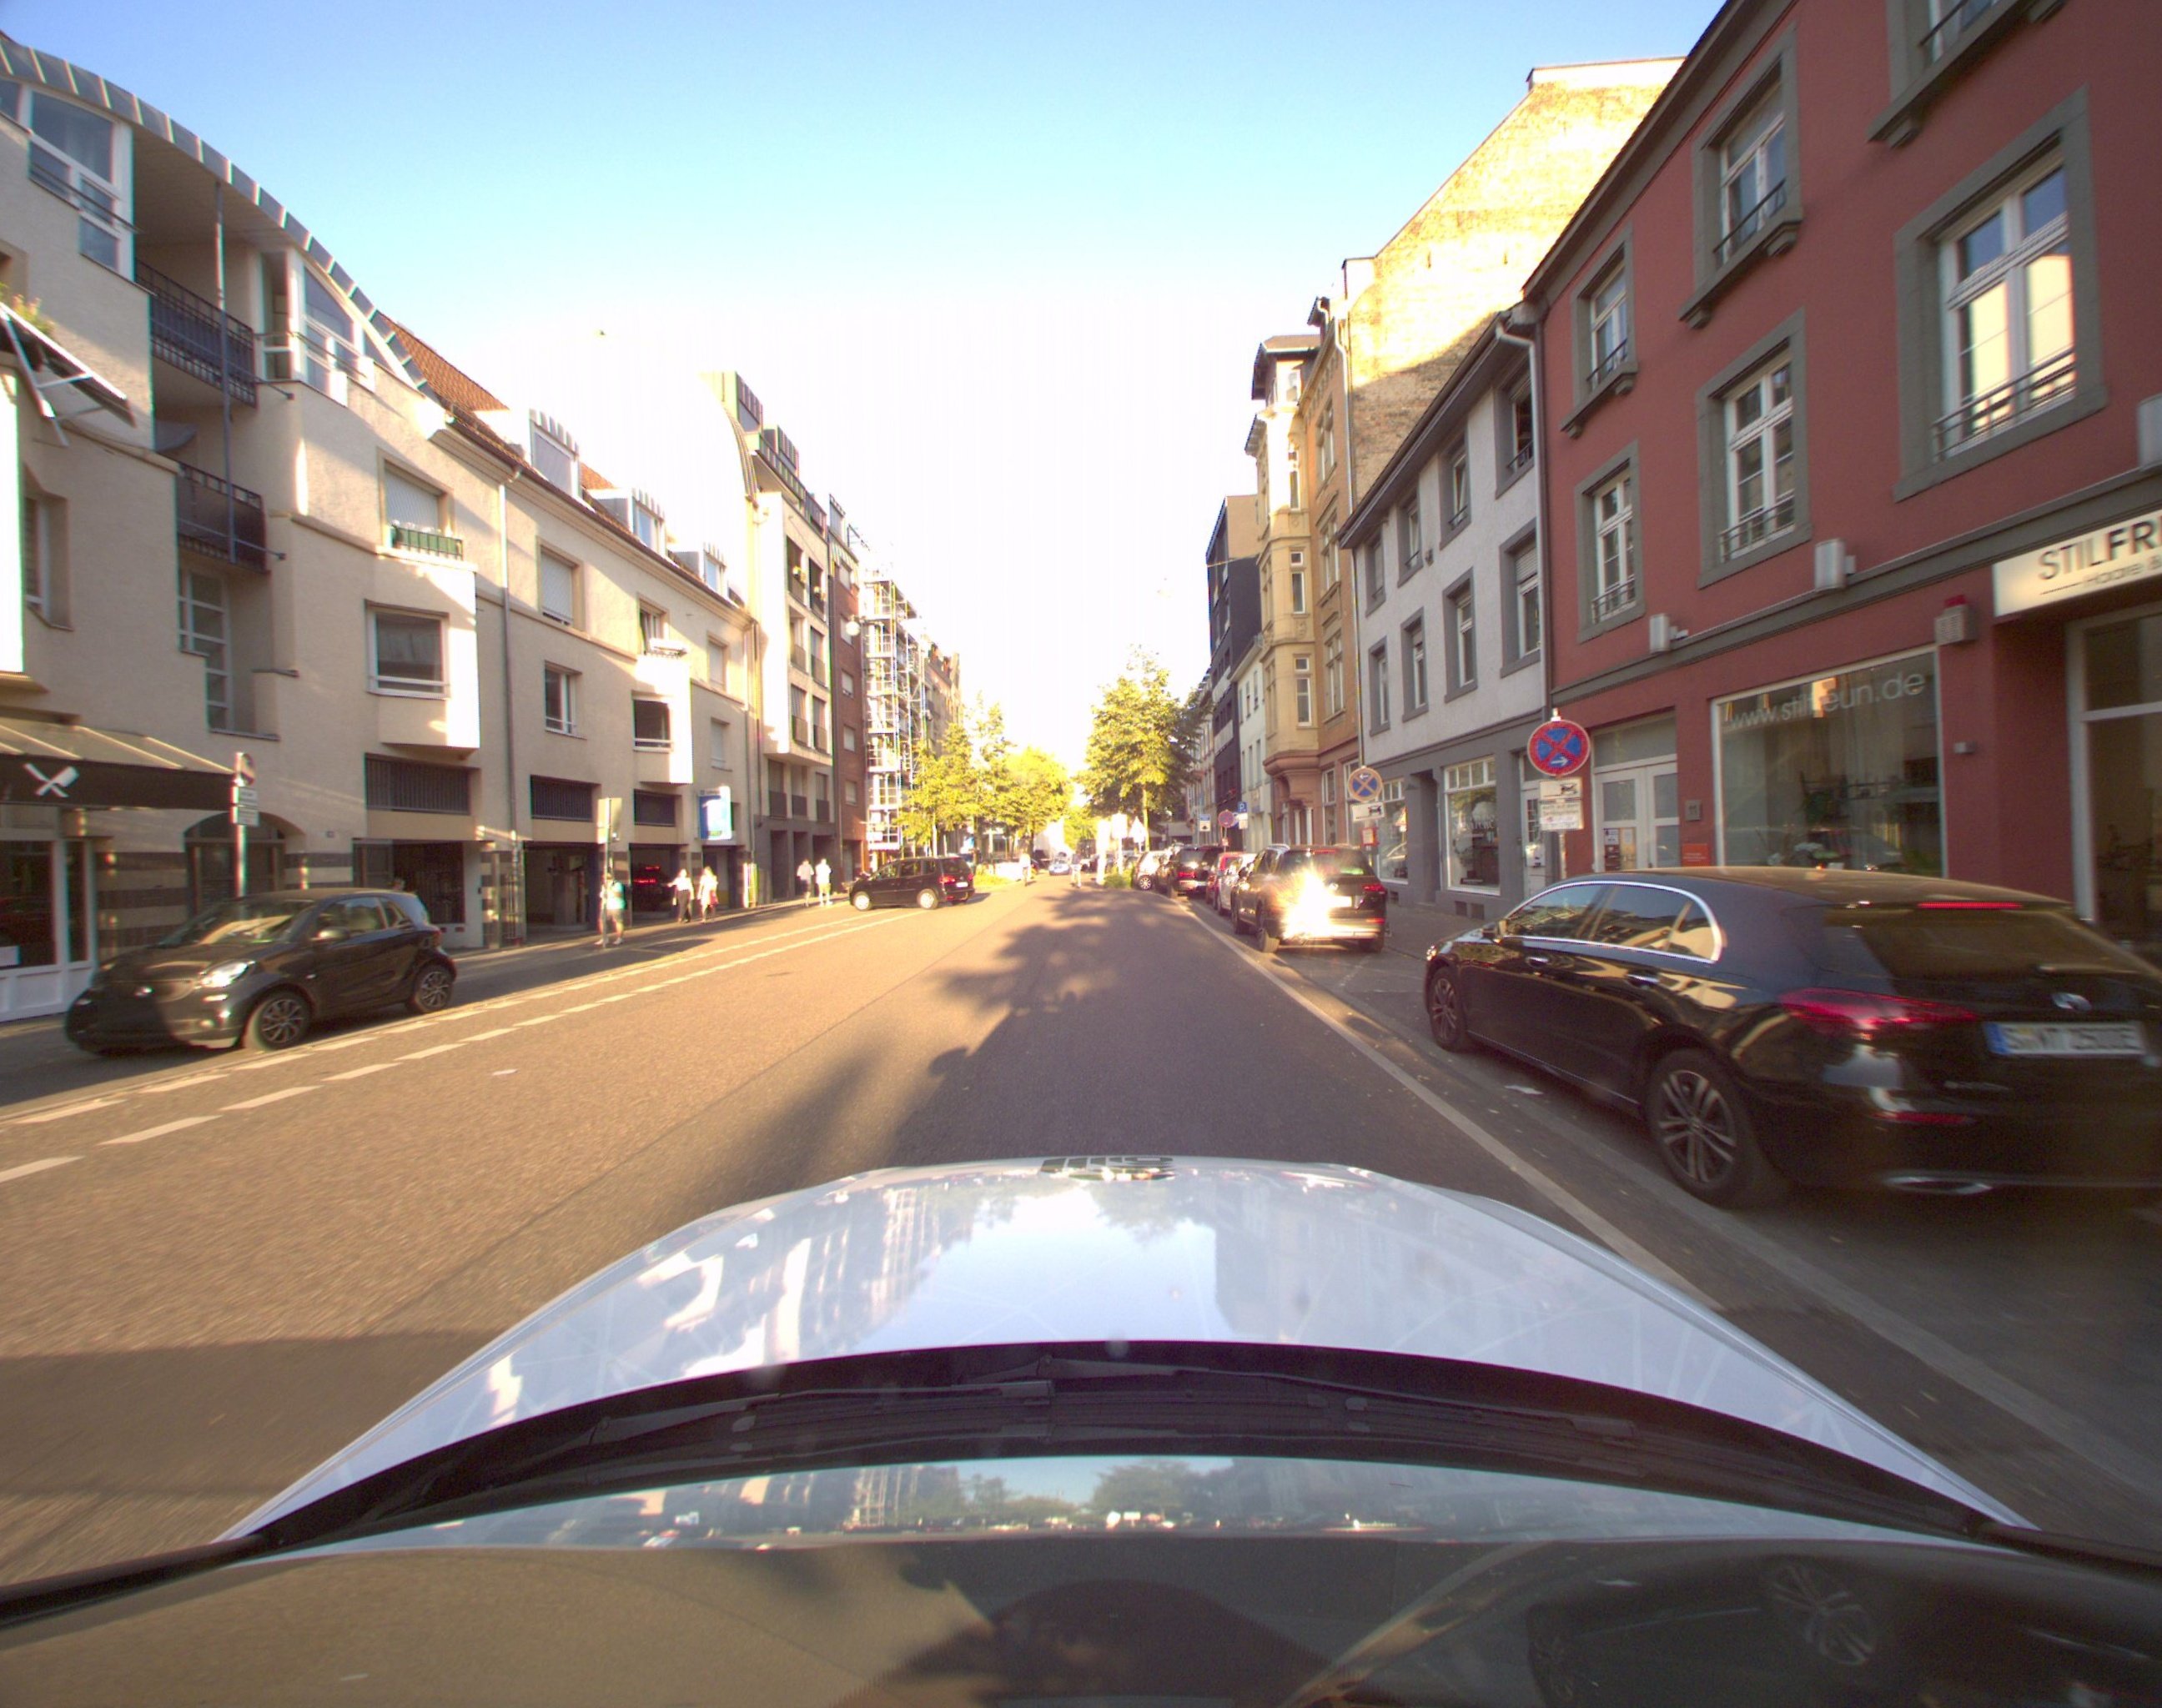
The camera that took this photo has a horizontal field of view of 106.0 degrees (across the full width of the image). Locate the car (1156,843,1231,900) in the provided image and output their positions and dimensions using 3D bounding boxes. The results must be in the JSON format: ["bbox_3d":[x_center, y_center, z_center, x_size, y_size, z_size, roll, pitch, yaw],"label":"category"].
[{"bbox_3d":[3.638,0.553,27.014,1.819,1.695,4.366,-1,0,-1],"label":"car"}]

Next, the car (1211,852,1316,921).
[{"bbox_3d":[4.008,0.680,18.426,1.660,1.378,3.805,-1,0,2],"label":"car"}]

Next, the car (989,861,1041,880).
[{"bbox_3d":[-5.478,1.383,68.319,4.085,1.466,1.891,-1,-1,3],"label":"car"}]

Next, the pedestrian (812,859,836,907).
[{"bbox_3d":[-9.540,1.064,30.232,0.716,1.740,0.737,-1,-1,-6],"label":"pedestrian"}]

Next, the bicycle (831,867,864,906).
[{"bbox_3d":[-8.932,1.209,31.270,0.720,1.395,3.146,-1,-1,-6],"label":"bicycle"}]

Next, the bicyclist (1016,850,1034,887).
[{"bbox_3d":[-2.848,0.740,41.553,0.778,1.829,1.007,-3,-1,-1],"label":"bicyclist"}]

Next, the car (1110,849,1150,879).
[{"bbox_3d":[3.264,0.660,54.929,2.259,1.766,4.507,4,-1,-1],"label":"car"}]

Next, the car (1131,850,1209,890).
[{"bbox_3d":[3.540,0.633,32.742,2.961,1.536,1.432,-1,-1,-3],"label":"car"}]

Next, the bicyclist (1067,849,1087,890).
[{"bbox_3d":[-0.193,0.667,35.509,0.778,1.696,1.007,-3,-1,-1],"label":"bicyclist"}]

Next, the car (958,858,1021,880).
[{"bbox_3d":[-6.401,1.033,56.984,4.085,1.466,1.891,-1,-1,3],"label":"car"}]

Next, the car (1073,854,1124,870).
[{"bbox_3d":[1.597,0.732,75.109,4.478,1.480,1.870,0,-1,-36],"label":"car"}]

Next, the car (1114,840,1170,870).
[{"bbox_3d":[4.531,0.069,60.109,3.967,2.013,2.003,-2,0,6],"label":"car"}]

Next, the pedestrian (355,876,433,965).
[{"bbox_3d":[-12.939,1.237,15.365,0.713,1.616,0.856,-1,-1,4],"label":"pedestrian"}]

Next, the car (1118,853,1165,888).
[{"bbox_3d":[3.019,0.834,41.568,1.988,1.668,4.507,-1,0,-1],"label":"car"}]

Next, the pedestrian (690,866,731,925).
[{"bbox_3d":[-10.446,1.159,22.992,0.713,1.641,0.856,-1,-1,6],"label":"pedestrian"}]

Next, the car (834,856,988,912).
[{"bbox_3d":[-5.470,0.958,26.179,4.453,1.602,2.011,-3,-1,25],"label":"car"}]

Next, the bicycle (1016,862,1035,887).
[{"bbox_3d":[-2.830,1.005,41.539,0.778,1.204,2.020,-3,-1,0],"label":"bicycle"}]

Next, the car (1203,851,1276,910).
[{"bbox_3d":[4.274,0.686,22.370,1.580,1.483,3.270,-1,0,4],"label":"car"}]

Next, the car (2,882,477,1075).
[{"bbox_3d":[-8.643,1.154,8.819,1.786,1.535,3.188,-2,0,-1],"label":"car"}]

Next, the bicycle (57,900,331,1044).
[{"bbox_3d":[-10.278,1.286,9.619,0.608,1.375,2.359,-1,-1,1],"label":"bicycle"}]

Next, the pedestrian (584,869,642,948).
[{"bbox_3d":[-10.220,1.168,17.805,0.714,1.641,0.951,-1,-1,-1],"label":"pedestrian"}]

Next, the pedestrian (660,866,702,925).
[{"bbox_3d":[-11.340,1.160,23.122,0.713,1.641,0.856,-1,-1,6],"label":"pedestrian"}]

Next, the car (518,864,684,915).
[{"bbox_3d":[-16.129,1.173,27.511,4.474,1.601,2.002,-1,-1,4],"label":"car"}]

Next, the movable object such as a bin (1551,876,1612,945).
[{"bbox_3d":[7.104,0.792,11.566,0.551,0.938,0.485,-2,0,0],"label":"movable object such as a bin"}]

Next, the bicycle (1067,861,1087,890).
[{"bbox_3d":[-0.180,0.910,35.362,0.778,1.204,2.020,-3,-1,0],"label":"bicycle"}]

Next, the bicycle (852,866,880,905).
[{"bbox_3d":[-8.262,1.161,31.363,0.584,1.395,3.154,-1,-1,-6],"label":"bicycle"}]

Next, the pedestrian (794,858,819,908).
[{"bbox_3d":[-9.904,1.037,29.393,0.716,1.767,0.693,-1,-1,-6],"label":"pedestrian"}]

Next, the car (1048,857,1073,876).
[{"bbox_3d":[-1.610,0.977,65.361,1.832,1.441,4.331,0,0,0],"label":"car"}]

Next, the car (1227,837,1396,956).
[{"bbox_3d":[3.635,0.621,13.625,1.804,1.668,4.208,-1,0,2],"label":"car"}]

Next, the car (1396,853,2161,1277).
[{"bbox_3d":[3.577,0.759,5.026,1.755,1.483,4.309,-1,0,2],"label":"car"}]
